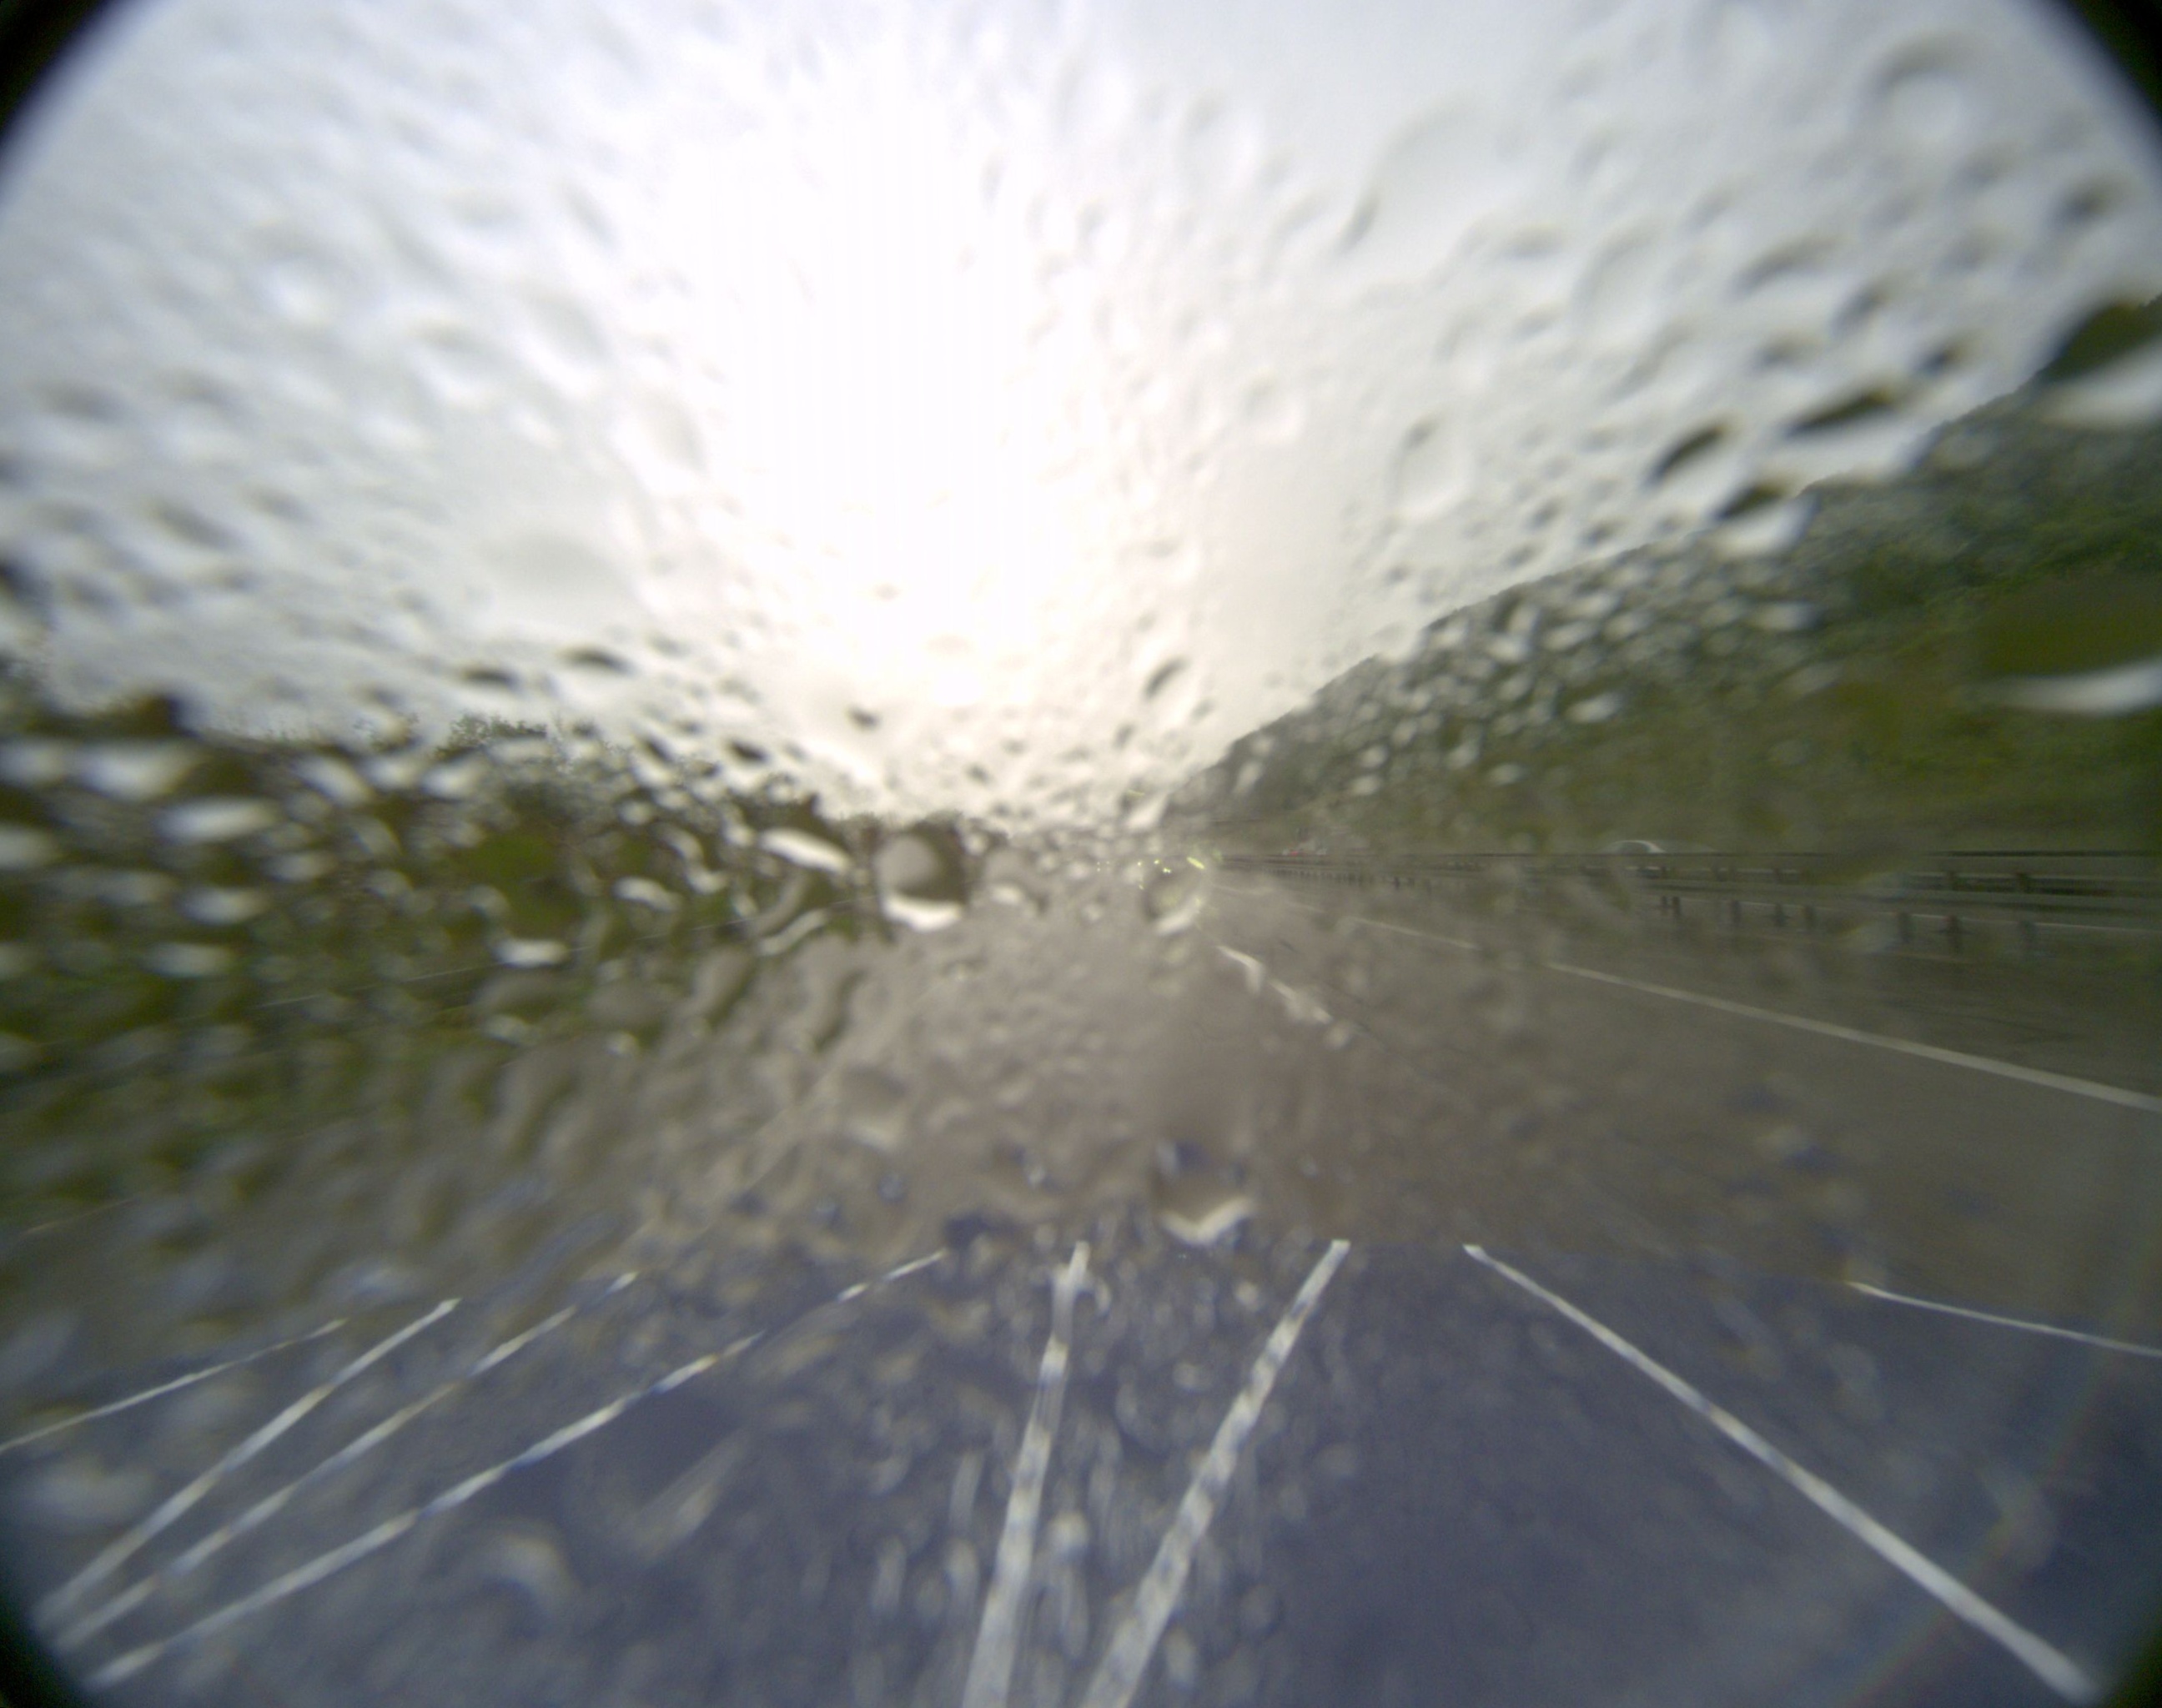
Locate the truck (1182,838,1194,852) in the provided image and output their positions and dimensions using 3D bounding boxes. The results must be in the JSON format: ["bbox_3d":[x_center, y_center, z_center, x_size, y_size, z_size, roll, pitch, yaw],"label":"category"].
[{"bbox_3d":[35.277,-3.110,251.294,3.293,4.402,5.735,-2,1,2],"label":"truck"}]

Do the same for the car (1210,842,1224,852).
[{"bbox_3d":[30.923,-1.593,172.514,2.393,2.002,4.705,-2,1,2],"label":"car"}]

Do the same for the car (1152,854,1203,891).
[{"bbox_3d":[4.761,0.871,38.074,1.998,1.673,4.909,0,0,1],"label":"car"}]

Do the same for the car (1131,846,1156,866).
[{"bbox_3d":[5.554,0.173,68.164,1.815,1.692,3.748,-2,1,-1],"label":"car"}]

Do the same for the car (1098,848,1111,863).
[{"bbox_3d":[3.382,0.161,109.068,1.836,2.002,3.938,-2,1,1],"label":"car"}]

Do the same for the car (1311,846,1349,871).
[{"bbox_3d":[21.263,0.365,65.056,1.998,2.002,4.000,-2,0,1],"label":"car"}]

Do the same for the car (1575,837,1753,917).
[{"bbox_3d":[16.306,0.596,21.558,1.998,2.002,4.000,-2,0,1],"label":"car"}]

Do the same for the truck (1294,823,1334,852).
[{"bbox_3d":[25.919,-1.781,84.723,2.815,2.981,5.517,-2,0,2],"label":"truck"}]

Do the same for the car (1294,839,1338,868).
[{"bbox_3d":[17.195,-0.059,55.765,1.998,2.002,4.000,-2,0,1],"label":"car"}]

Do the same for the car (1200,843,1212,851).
[{"bbox_3d":[31.076,-1.761,188.909,2.393,2.002,4.705,-2,1,2],"label":"car"}]

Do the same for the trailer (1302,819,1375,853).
[{"bbox_3d":[25.621,-1.673,76.736,2.820,3.035,14.901,-2,0,2],"label":"trailer"}]
